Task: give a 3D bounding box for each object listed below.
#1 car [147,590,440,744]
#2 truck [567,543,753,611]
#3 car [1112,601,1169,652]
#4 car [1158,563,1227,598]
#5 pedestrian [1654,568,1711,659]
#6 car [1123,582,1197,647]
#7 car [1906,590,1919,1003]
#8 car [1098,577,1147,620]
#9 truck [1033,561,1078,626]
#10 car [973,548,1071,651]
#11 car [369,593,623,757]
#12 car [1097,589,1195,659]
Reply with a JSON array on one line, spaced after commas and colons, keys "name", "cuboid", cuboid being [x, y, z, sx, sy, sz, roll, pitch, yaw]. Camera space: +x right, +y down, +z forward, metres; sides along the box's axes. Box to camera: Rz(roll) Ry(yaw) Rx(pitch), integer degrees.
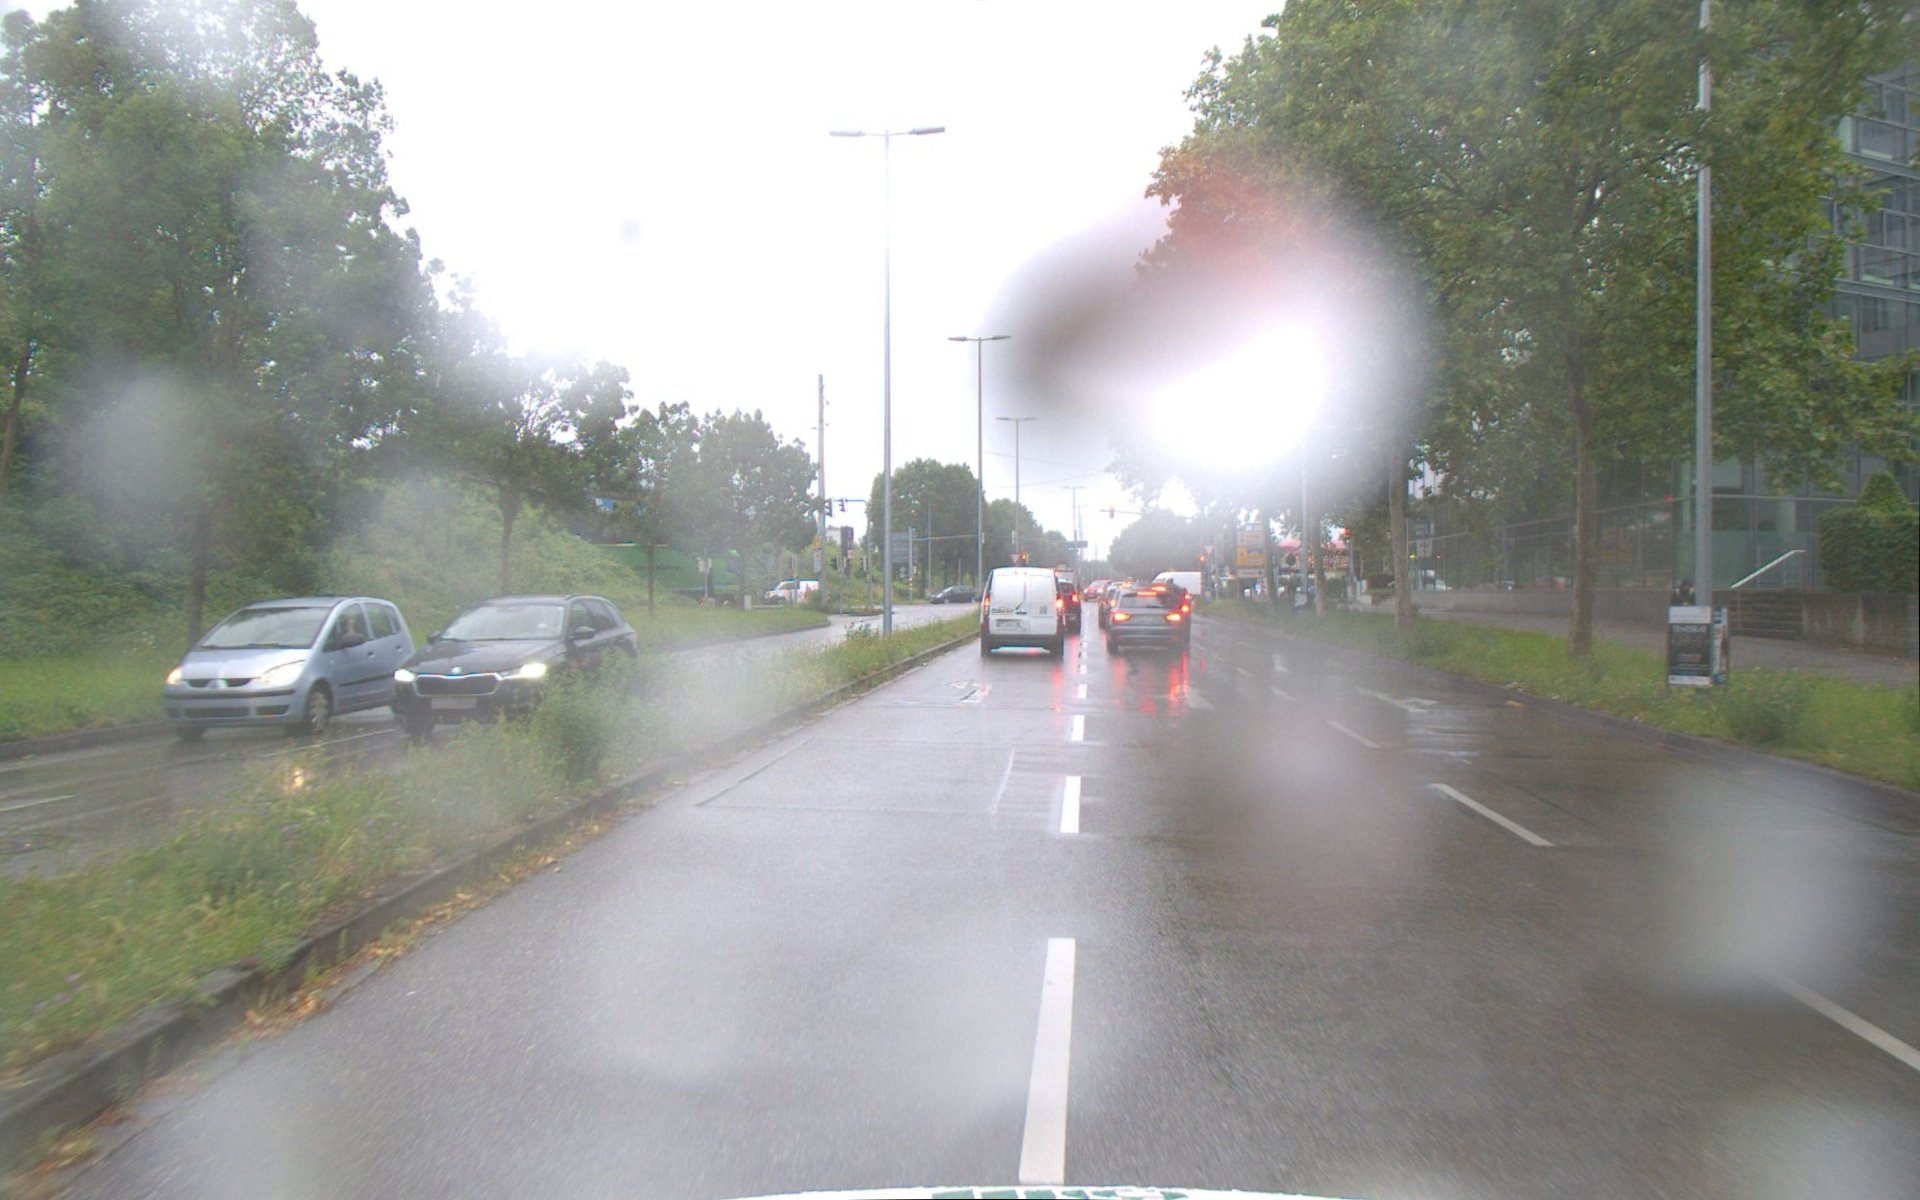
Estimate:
[{"name": "car", "cuboid": [-7.787, 0.710, 19.723, 1.660, 1.646, 3.850, 0, 0, 5]}, {"name": "truck", "cuboid": [-16.685, -1.207, 92.521, 10.012, 3.512, 2.629, 1, -1, -33]}, {"name": "car", "cuboid": [5.646, 0.813, 51.980, 1.675, 1.470, 4.003, 0, 1, 5]}, {"name": "car", "cuboid": [19.683, -1.625, 140.129, 5.942, 2.792, 1.978, 1, -1, -32]}, {"name": "pedestrian", "cuboid": [14.453, 0.251, 33.119, 0.650, 1.793, 1.075, 0, 0, -1]}, {"name": "car", "cuboid": [5.259, 0.343, 43.782, 1.673, 1.577, 4.002, 0, 1, 3]}, {"name": "car", "cuboid": [4.418, 0.764, 4.259, 1.800, 1.563, 4.113, 1, 0, 4]}, {"name": "car", "cuboid": [5.805, -0.080, 59.313, 1.675, 1.470, 4.003, 0, 1, 5]}, {"name": "truck", "cuboid": [3.809, -0.261, 65.814, 1.720, 2.509, 4.002, 0, 0, 3]}, {"name": "car", "cuboid": [1.356, 0.026, 35.263, 1.952, 2.049, 4.001, 0, -1, 3]}, {"name": "car", "cuboid": [-5.153, 0.750, 18.958, 1.685, 1.646, 4.346, 0, 0, 0]}, {"name": "car", "cuboid": [4.175, 0.514, 37.664, 1.952, 1.477, 4.002, 1, 0, 3]}]
